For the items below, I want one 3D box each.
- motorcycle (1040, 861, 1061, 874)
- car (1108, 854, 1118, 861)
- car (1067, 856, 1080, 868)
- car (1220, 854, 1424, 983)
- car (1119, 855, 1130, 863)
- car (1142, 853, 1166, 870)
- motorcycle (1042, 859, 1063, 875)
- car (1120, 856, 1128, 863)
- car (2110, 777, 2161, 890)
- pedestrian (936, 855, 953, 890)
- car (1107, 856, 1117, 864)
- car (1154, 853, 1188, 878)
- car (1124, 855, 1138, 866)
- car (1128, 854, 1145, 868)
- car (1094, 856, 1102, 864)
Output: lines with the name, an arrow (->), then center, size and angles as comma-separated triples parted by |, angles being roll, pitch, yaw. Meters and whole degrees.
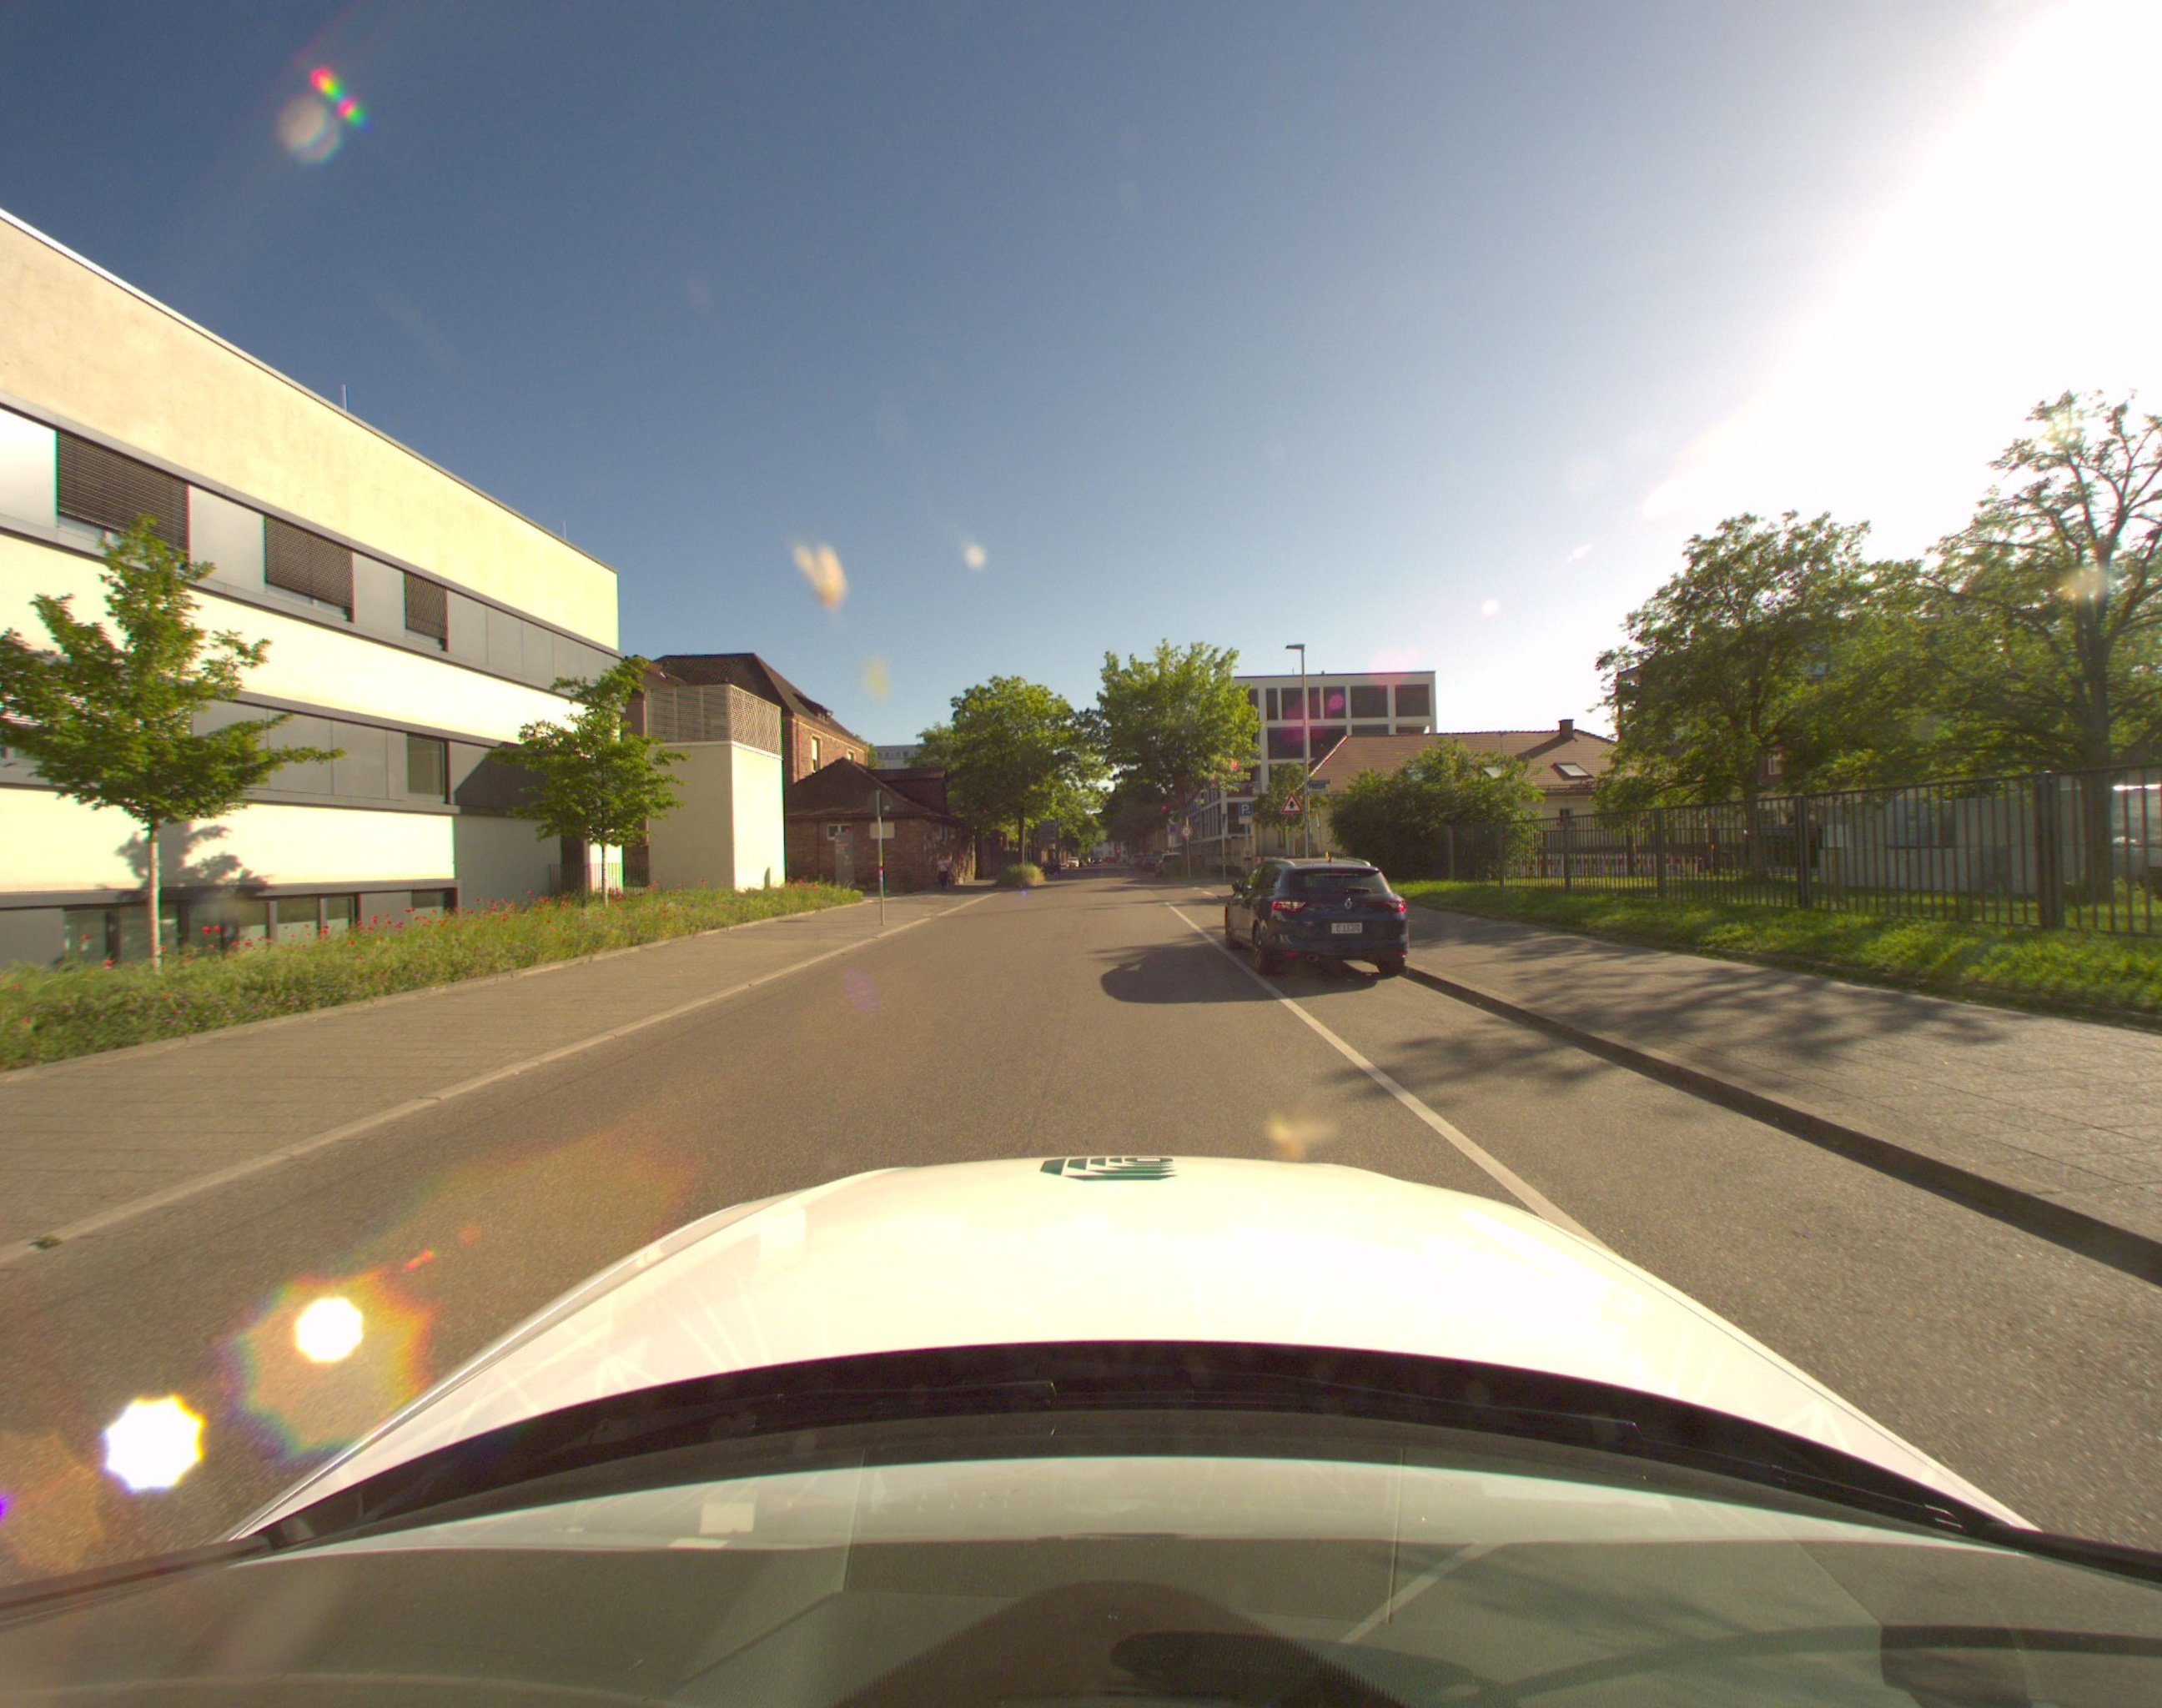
motorcycle -> -2.628, 1.171, 70.602 | 0.570, 1.074, 2.135 | -2, 0, 35
car -> 6.163, 0.701, 157.546 | 1.881, 1.400, 3.839 | -1, 0, 3
car -> -1.017, 1.117, 113.584 | 1.761, 1.487, 4.000 | -2, 0, 0
car -> 3.115, 0.741, 11.430 | 1.810, 1.453, 4.217 | 0, 0, 3
car -> 7.943, 0.853, 149.334 | 1.985, 1.425, 3.839 | -1, 0, 2
car -> 6.428, 0.636, 72.384 | 1.761, 1.440, 4.000 | -2, 0, 0
motorcycle -> -2.428, 1.119, 69.287 | 0.570, 1.276, 2.135 | -2, 0, 35
car -> 9.625, 1.223, 182.351 | 1.579, 1.400, 3.839 | -1, 0, 3
car -> 23.702, -0.466, 15.484 | 5.255, 2.202, 2.004 | -1, 1, 7
pedestrian -> -6.243, 0.822, 37.305 | 0.519, 1.562, 1.096 | -1, 0, 1
car -> 5.876, 1.170, 156.751 | 1.761, 1.548, 4.066 | -2, 0, 0
car -> 5.627, 0.704, 51.120 | 1.697, 1.468, 4.790 | -1, 0, 1
car -> 7.177, 0.883, 116.802 | 1.985, 1.465, 3.839 | -1, 0, 2
car -> 6.907, 0.839, 101.202 | 1.942, 1.578, 3.839 | -1, 0, 3
car -> 3.573, 1.279, 172.070 | 1.647, 1.530, 4.001 | -1, 0, 2
